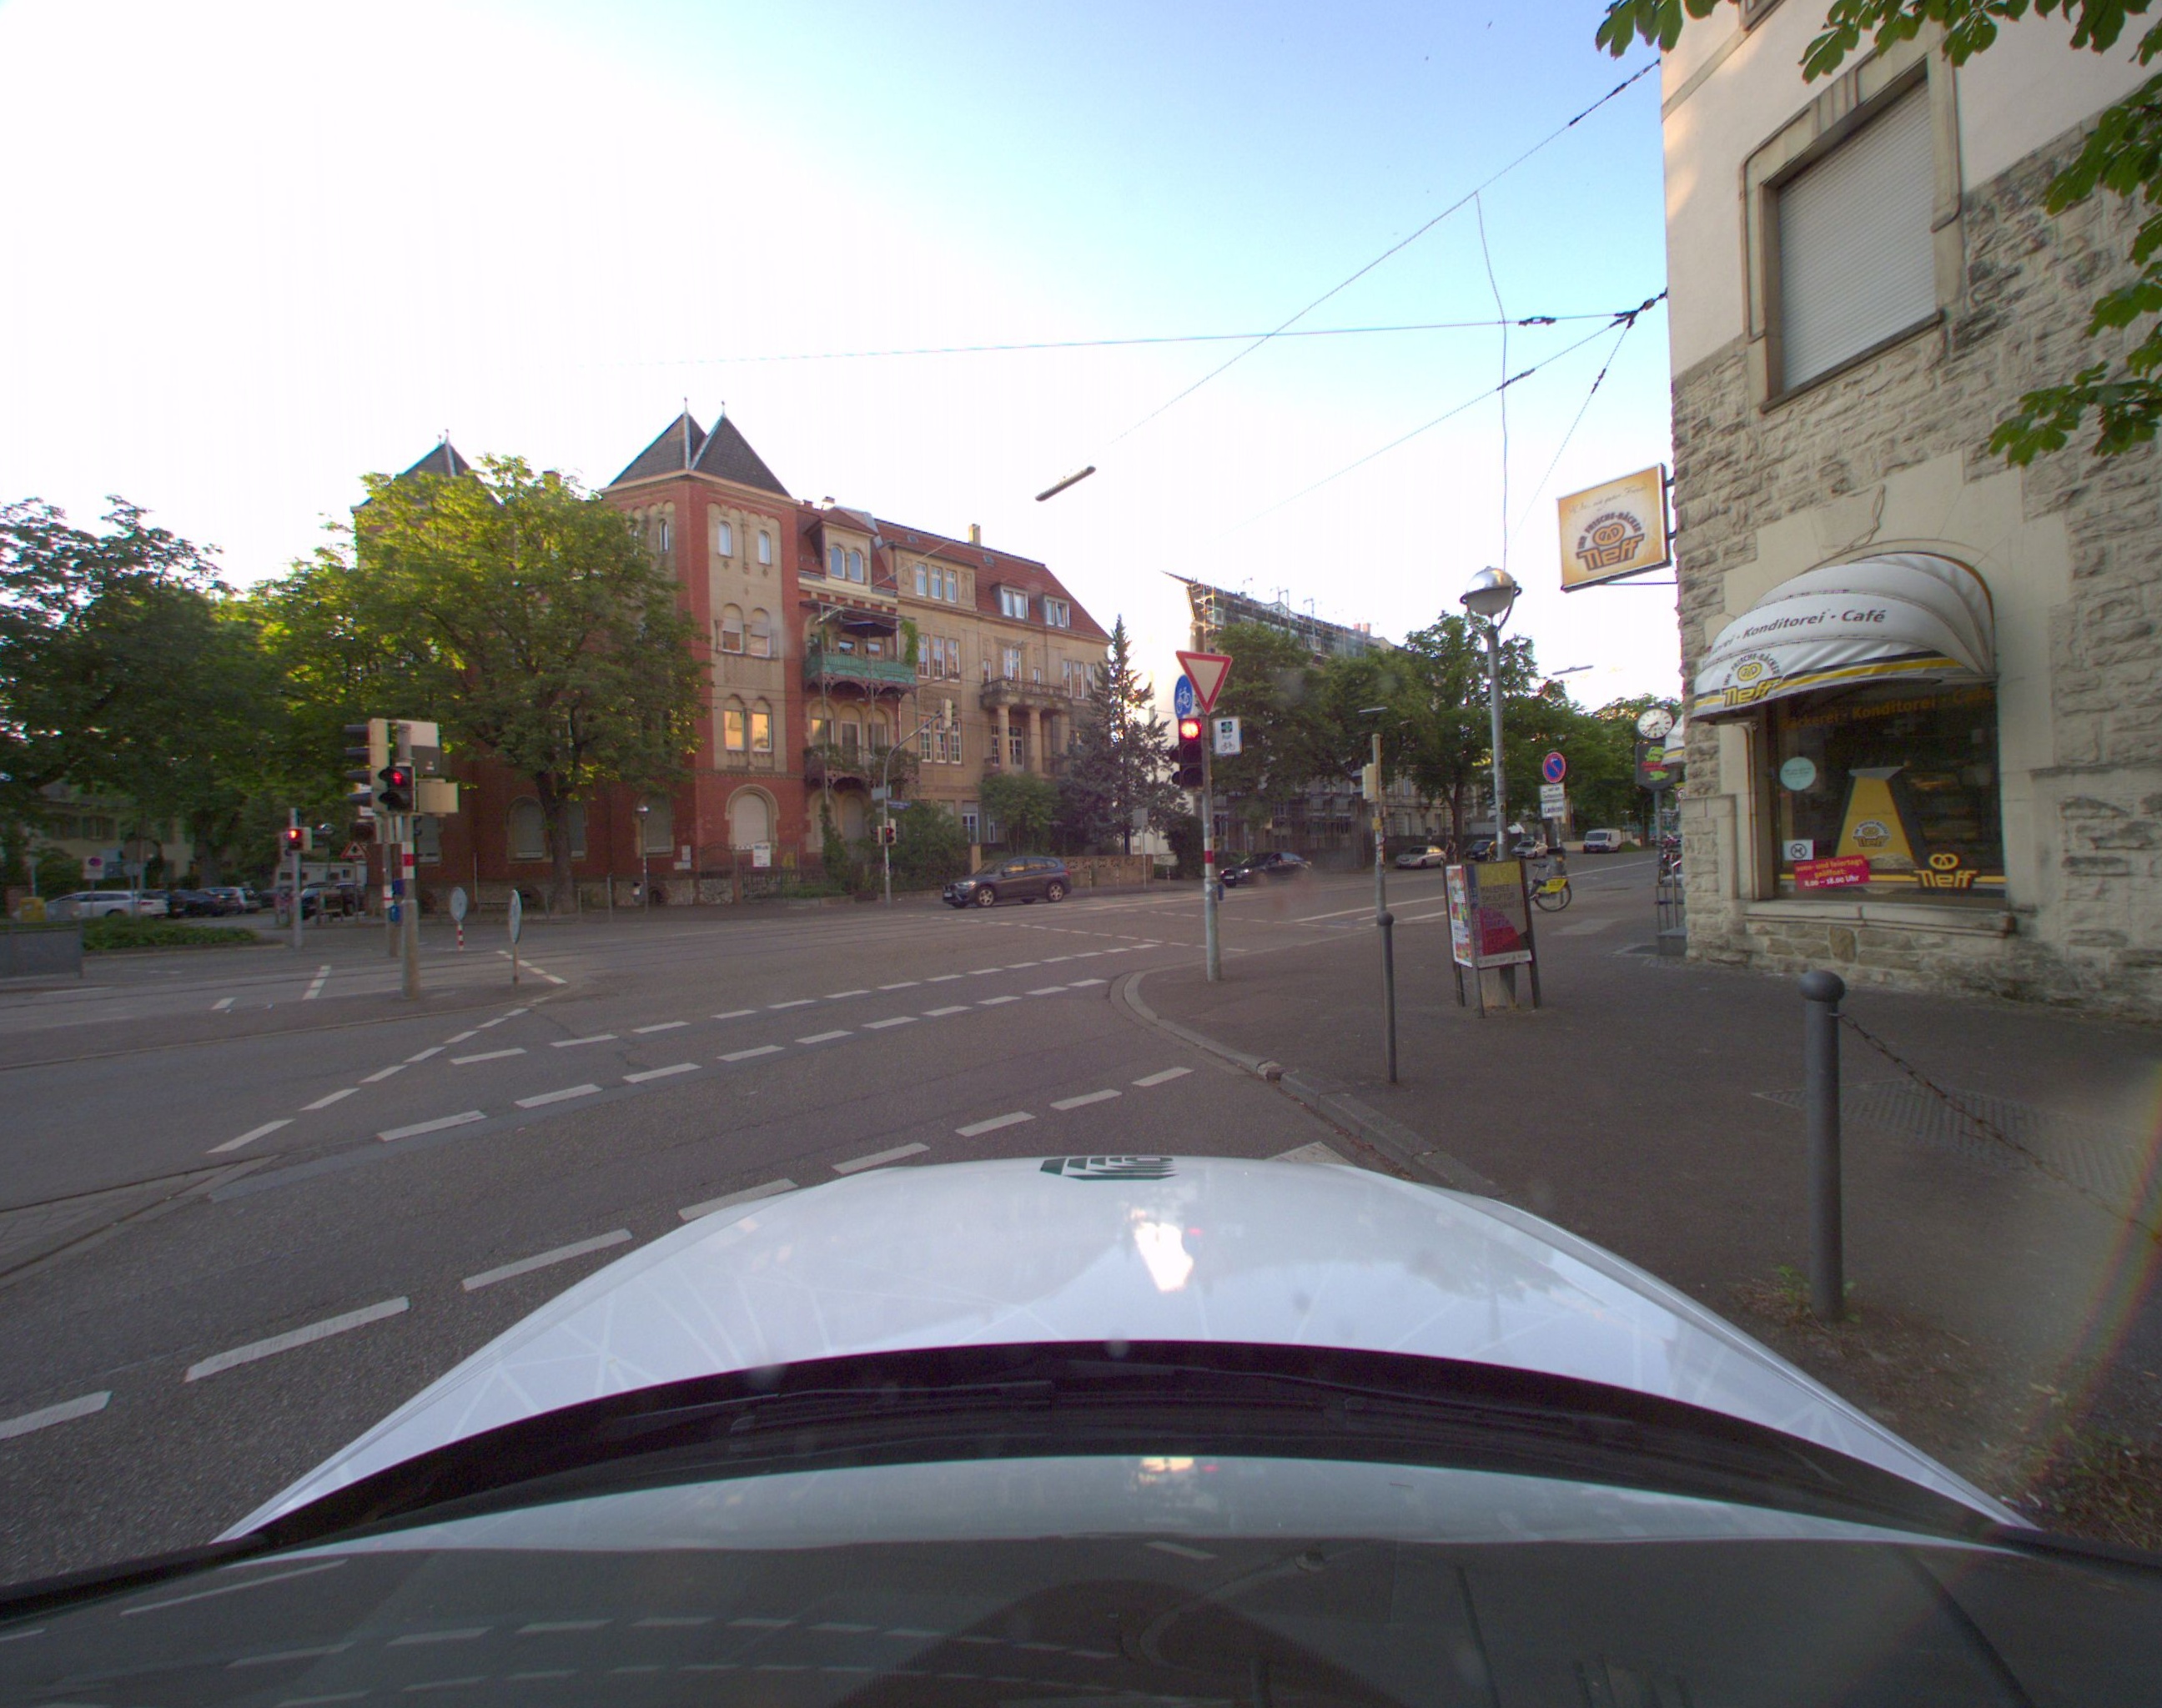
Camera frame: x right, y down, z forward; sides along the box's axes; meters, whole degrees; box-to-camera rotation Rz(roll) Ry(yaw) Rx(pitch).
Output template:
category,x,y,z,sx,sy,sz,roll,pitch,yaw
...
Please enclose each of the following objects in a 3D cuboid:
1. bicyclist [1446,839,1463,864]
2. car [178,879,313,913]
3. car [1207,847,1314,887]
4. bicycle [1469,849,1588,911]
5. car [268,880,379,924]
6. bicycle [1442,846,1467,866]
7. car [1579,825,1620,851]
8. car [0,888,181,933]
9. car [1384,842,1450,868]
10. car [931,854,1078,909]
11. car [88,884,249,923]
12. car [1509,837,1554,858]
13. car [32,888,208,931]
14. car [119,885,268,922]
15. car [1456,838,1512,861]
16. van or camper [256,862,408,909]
category,x,y,z,sx,sy,sz,roll,pitch,yaw
bicyclist,21.950,-0.163,47.889,0.739,1.428,0.549,-2,0,-35
car,-47.649,2.376,46.594,4.974,1.704,1.984,-1,-1,-25
car,7.719,0.529,34.752,4.655,1.510,1.928,-2,0,-38
bicycle,8.687,0.496,15.885,1.859,1.130,0.734,-2,0,12
car,-33.696,2.091,36.399,2.001,1.704,4.686,-1,-1,-21
bicycle,21.963,0.112,47.882,1.614,1.148,0.549,-2,0,-35
car,49.061,-1.558,76.983,4.657,2.316,1.927,-2,0,-41
car,-44.445,2.493,36.575,4.974,1.704,1.984,-1,-1,-25
car,21.198,0.059,51.262,4.658,1.426,1.986,-2,0,-42
car,-2.451,0.856,26.687,4.441,1.510,1.928,-2,0,-38
car,-45.726,2.427,40.984,4.974,1.704,1.984,-1,-1,-25
car,35.651,-0.551,64.445,4.346,1.482,1.926,-2,0,-45
car,-45.350,2.578,38.602,4.974,1.704,1.984,-1,-1,-25
car,-47.330,2.622,43.572,4.974,1.704,1.984,-1,-1,-25
car,28.830,-0.351,58.263,4.189,1.482,1.928,-2,0,-38
van or camper,-52.715,2.141,57.603,7.400,3.083,2.651,-1,-1,-25
